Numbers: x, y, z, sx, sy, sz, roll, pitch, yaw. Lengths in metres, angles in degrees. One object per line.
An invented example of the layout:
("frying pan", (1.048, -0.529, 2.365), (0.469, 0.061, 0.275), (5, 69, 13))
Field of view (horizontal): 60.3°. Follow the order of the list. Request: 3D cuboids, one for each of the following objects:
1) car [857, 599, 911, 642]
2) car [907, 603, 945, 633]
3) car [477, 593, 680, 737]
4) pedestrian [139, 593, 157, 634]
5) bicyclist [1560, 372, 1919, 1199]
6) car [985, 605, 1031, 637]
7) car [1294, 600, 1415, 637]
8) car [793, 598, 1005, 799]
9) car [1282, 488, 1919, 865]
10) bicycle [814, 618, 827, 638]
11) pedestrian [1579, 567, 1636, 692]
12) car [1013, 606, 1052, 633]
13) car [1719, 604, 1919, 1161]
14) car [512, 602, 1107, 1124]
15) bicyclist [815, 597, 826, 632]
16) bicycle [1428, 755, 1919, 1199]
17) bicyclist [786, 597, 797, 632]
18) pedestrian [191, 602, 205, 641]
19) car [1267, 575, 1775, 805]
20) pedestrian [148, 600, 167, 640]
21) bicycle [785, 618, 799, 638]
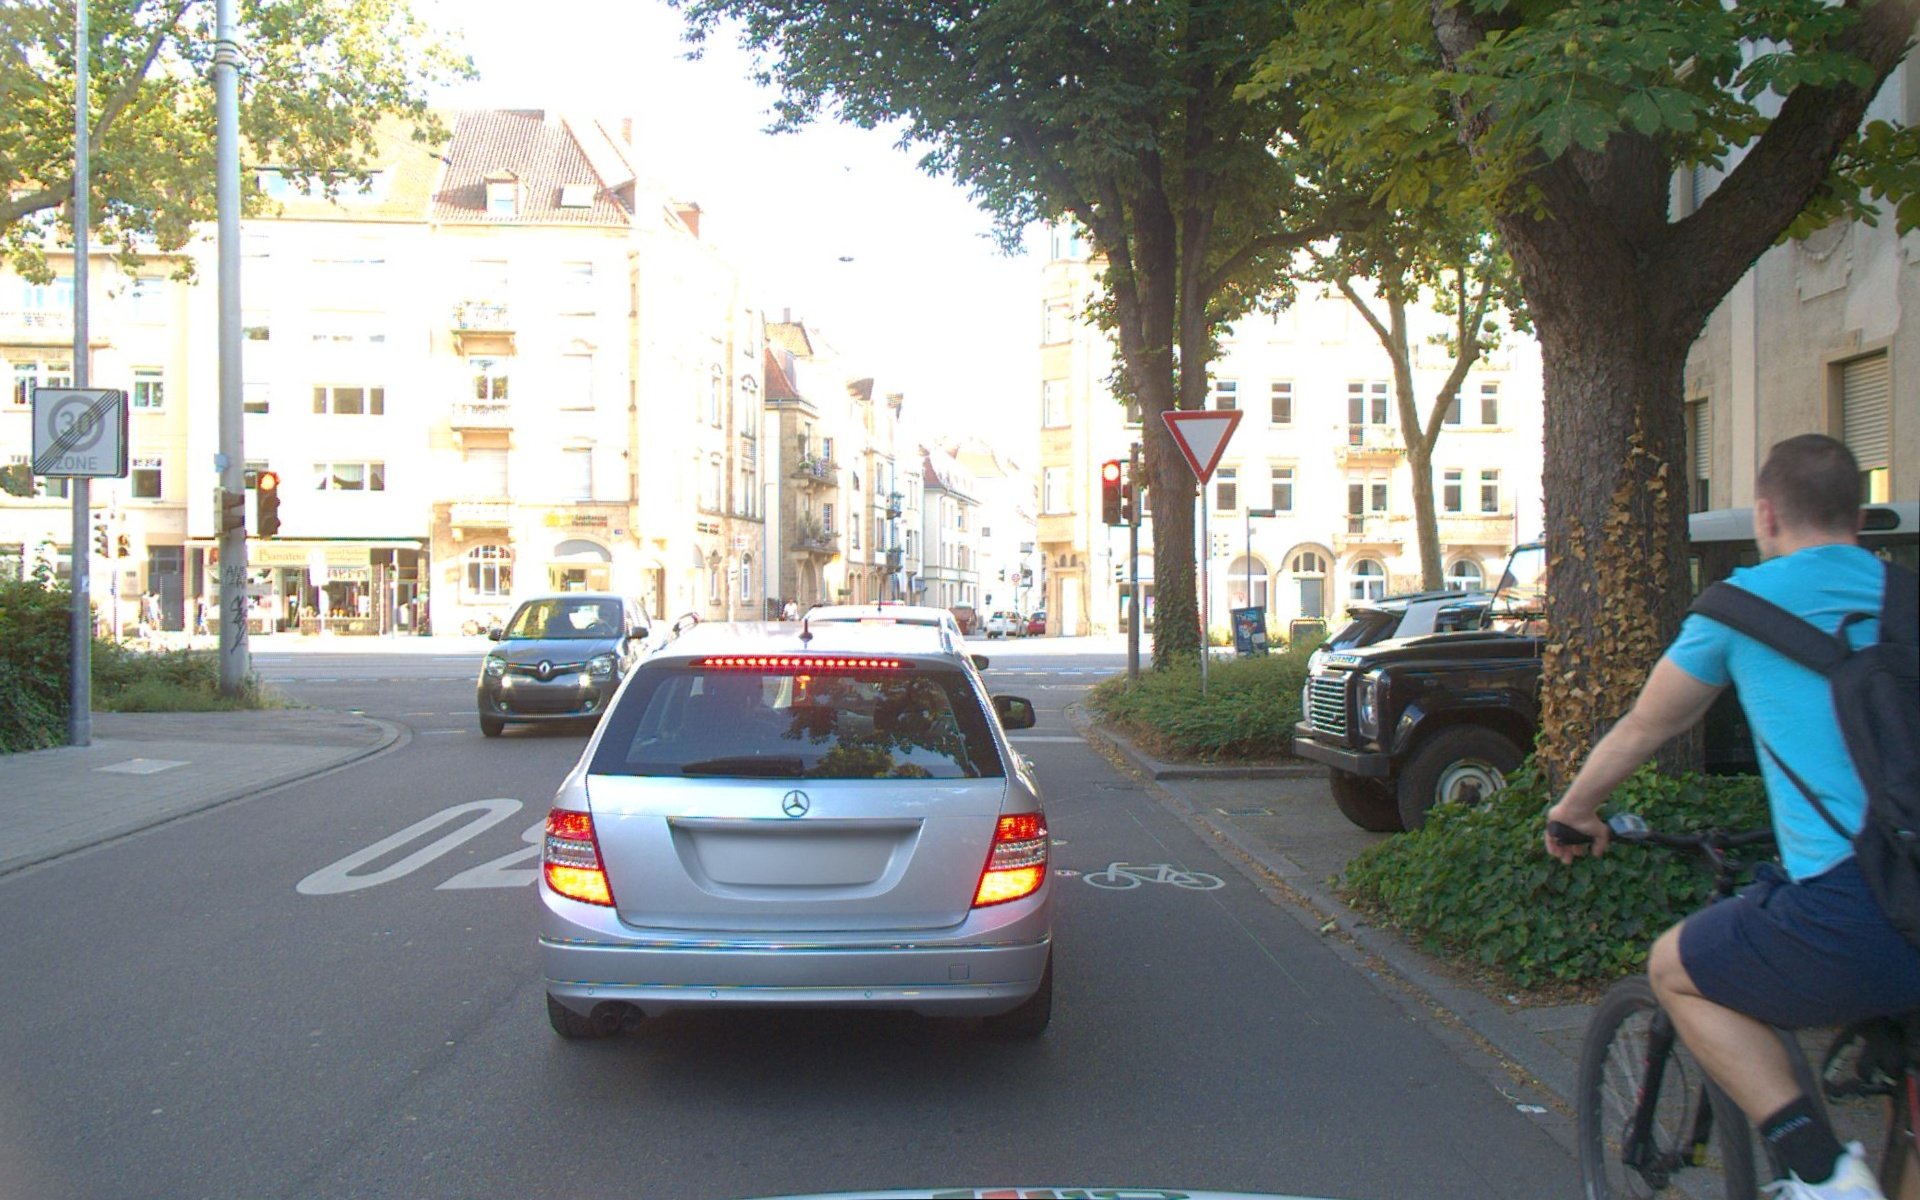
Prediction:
("car", (-3.644, 0.964, 79.749), (1.896, 1.993, 4.153), (0, 0, 7))
("car", (-2.109, 1.101, 102.380), (1.615, 1.814, 3.866), (0, -1, 10))
("car", (-4.371, 0.689, 19.423), (1.582, 1.528, 3.592), (0, 0, -1))
("pedestrian", (-30.703, 0.505, 62.574), (0.557, 1.537, 0.499), (0, 0, -20))
("bicyclist", (1.504, 0.577, 2.829), (0.633, 1.806, 0.830), (1, -1, -1))
("car", (2.524, 1.060, 85.881), (1.684, 1.504, 4.004), (-2, 0, 11))
("car", (11.856, 0.560, 49.825), (3.296, 1.087, 1.380), (0, 0, -2))
("car", (-0.507, 0.703, 13.603), (1.502, 1.415, 3.597), (0, 0, -2))
("car", (4.418, 0.397, 10.238), (4.402, 1.990, 1.791), (-2, 0, -4))
("bicycle", (-6.176, 1.240, 73.172), (0.557, 0.849, 1.564), (0, 0, -4))
("pedestrian", (9.801, 0.440, 25.052), (0.619, 1.877, 0.574), (0, 0, -5))
("car", (4.491, 1.191, 102.120), (1.684, 1.503, 4.004), (-4, 0, 11))
("car", (4.316, 0.684, 4.569), (3.675, 1.446, 1.627), (-2, -1, -4))
("car", (-0.517, 0.755, 6.442), (1.657, 1.454, 3.490), (1, 0, -3))
("bicyclist", (-6.187, 0.642, 73.207), (0.457, 1.547, 0.693), (0, 0, -4))
("bicycle", (1.470, 0.941, 2.839), (0.727, 1.137, 2.013), (1, 0, -1))
("bicyclist", (-7.450, 0.645, 73.227), (0.457, 1.541, 0.655), (0, 0, -4))
("pedestrian", (-29.817, 0.832, 64.717), (0.466, 1.537, 0.428), (0, 0, -21))
("car", (4.370, 0.655, 13.161), (3.415, 1.614, 1.708), (-1, 0, -7))
("pedestrian", (-30.896, 0.758, 63.691), (0.498, 1.537, 0.536), (0, 0, -4))
("bicycle", (-7.448, 1.246, 73.187), (0.557, 0.849, 1.564), (0, 0, -4))
